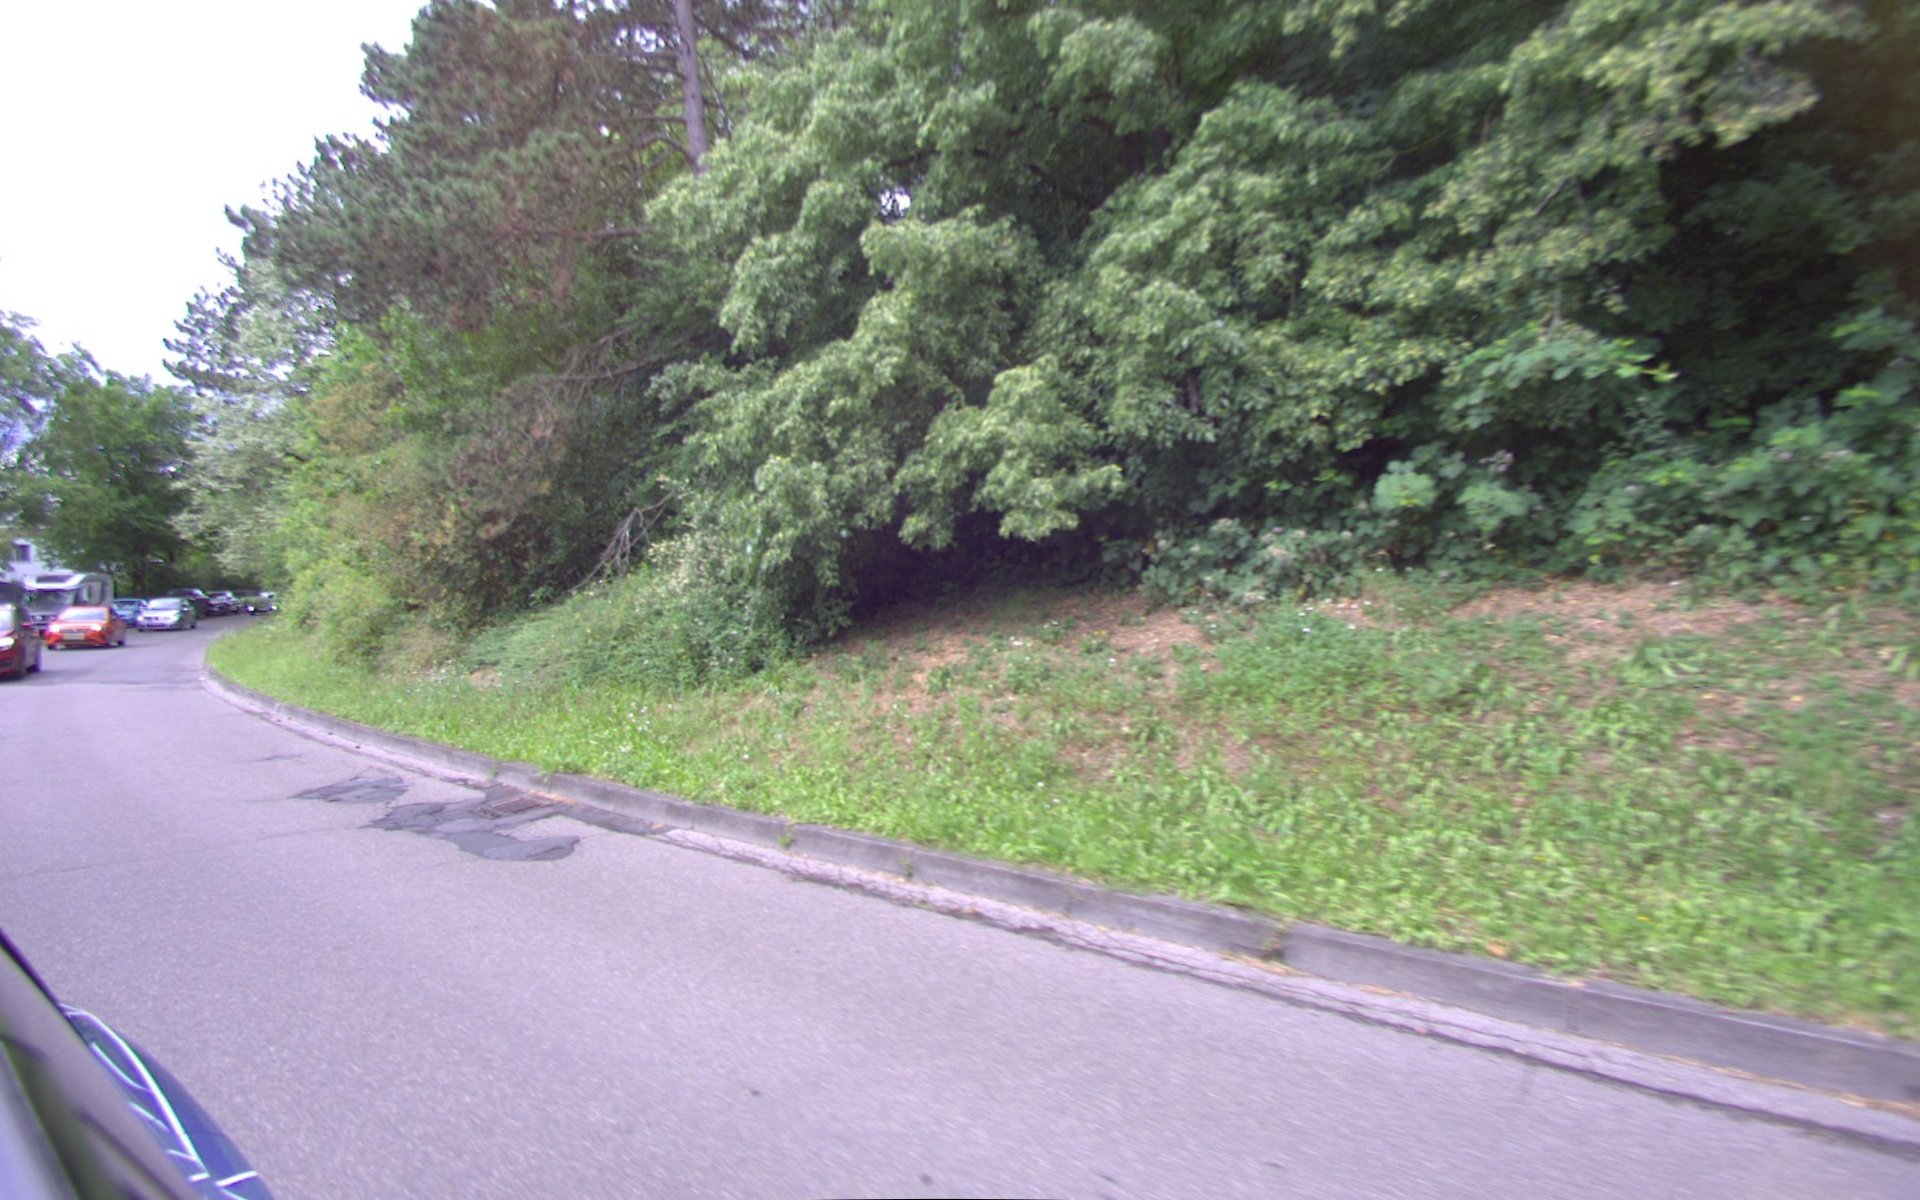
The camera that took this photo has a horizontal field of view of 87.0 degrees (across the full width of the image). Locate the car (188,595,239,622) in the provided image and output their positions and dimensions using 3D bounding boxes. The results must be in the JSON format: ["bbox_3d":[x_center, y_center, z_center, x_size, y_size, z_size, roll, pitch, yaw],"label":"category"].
[{"bbox_3d":[-50.931,0.574,69.116,1.814,1.697,4.615,-1,0,-23],"label":"car"}]

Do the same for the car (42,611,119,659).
[{"bbox_3d":[-30.435,1.161,35.128,1.838,1.459,4.184,-1,1,-39],"label":"car"}]

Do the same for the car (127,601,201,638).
[{"bbox_3d":[-39.501,0.935,50.325,1.891,1.694,4.013,0,1,-23],"label":"car"}]

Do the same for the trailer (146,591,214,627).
[{"bbox_3d":[-48.878,0.521,63.541,1.965,1.947,5.914,-1,3,-23],"label":"trailer"}]

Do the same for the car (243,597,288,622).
[{"bbox_3d":[-47.794,0.636,69.750,1.739,1.528,4.014,-2,2,-23],"label":"car"}]

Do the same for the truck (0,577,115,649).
[{"bbox_3d":[-40.468,0.532,45.549,2.271,2.955,7.056,0,0,-27],"label":"truck"}]

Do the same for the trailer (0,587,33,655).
[{"bbox_3d":[-35.036,0.769,35.969,2.077,2.380,4.715,0,-2,-30],"label":"trailer"}]

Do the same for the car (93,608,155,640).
[{"bbox_3d":[-45.440,1.261,55.082,1.671,1.559,3.781,-2,1,-25],"label":"car"}]

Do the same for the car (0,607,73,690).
[{"bbox_3d":[-21.520,1.032,22.198,1.965,1.640,4.641,-2,1,-27],"label":"car"}]

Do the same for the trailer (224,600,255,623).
[{"bbox_3d":[-53.719,0.815,75.480,1.354,1.616,2.275,-2,1,-23],"label":"trailer"}]
